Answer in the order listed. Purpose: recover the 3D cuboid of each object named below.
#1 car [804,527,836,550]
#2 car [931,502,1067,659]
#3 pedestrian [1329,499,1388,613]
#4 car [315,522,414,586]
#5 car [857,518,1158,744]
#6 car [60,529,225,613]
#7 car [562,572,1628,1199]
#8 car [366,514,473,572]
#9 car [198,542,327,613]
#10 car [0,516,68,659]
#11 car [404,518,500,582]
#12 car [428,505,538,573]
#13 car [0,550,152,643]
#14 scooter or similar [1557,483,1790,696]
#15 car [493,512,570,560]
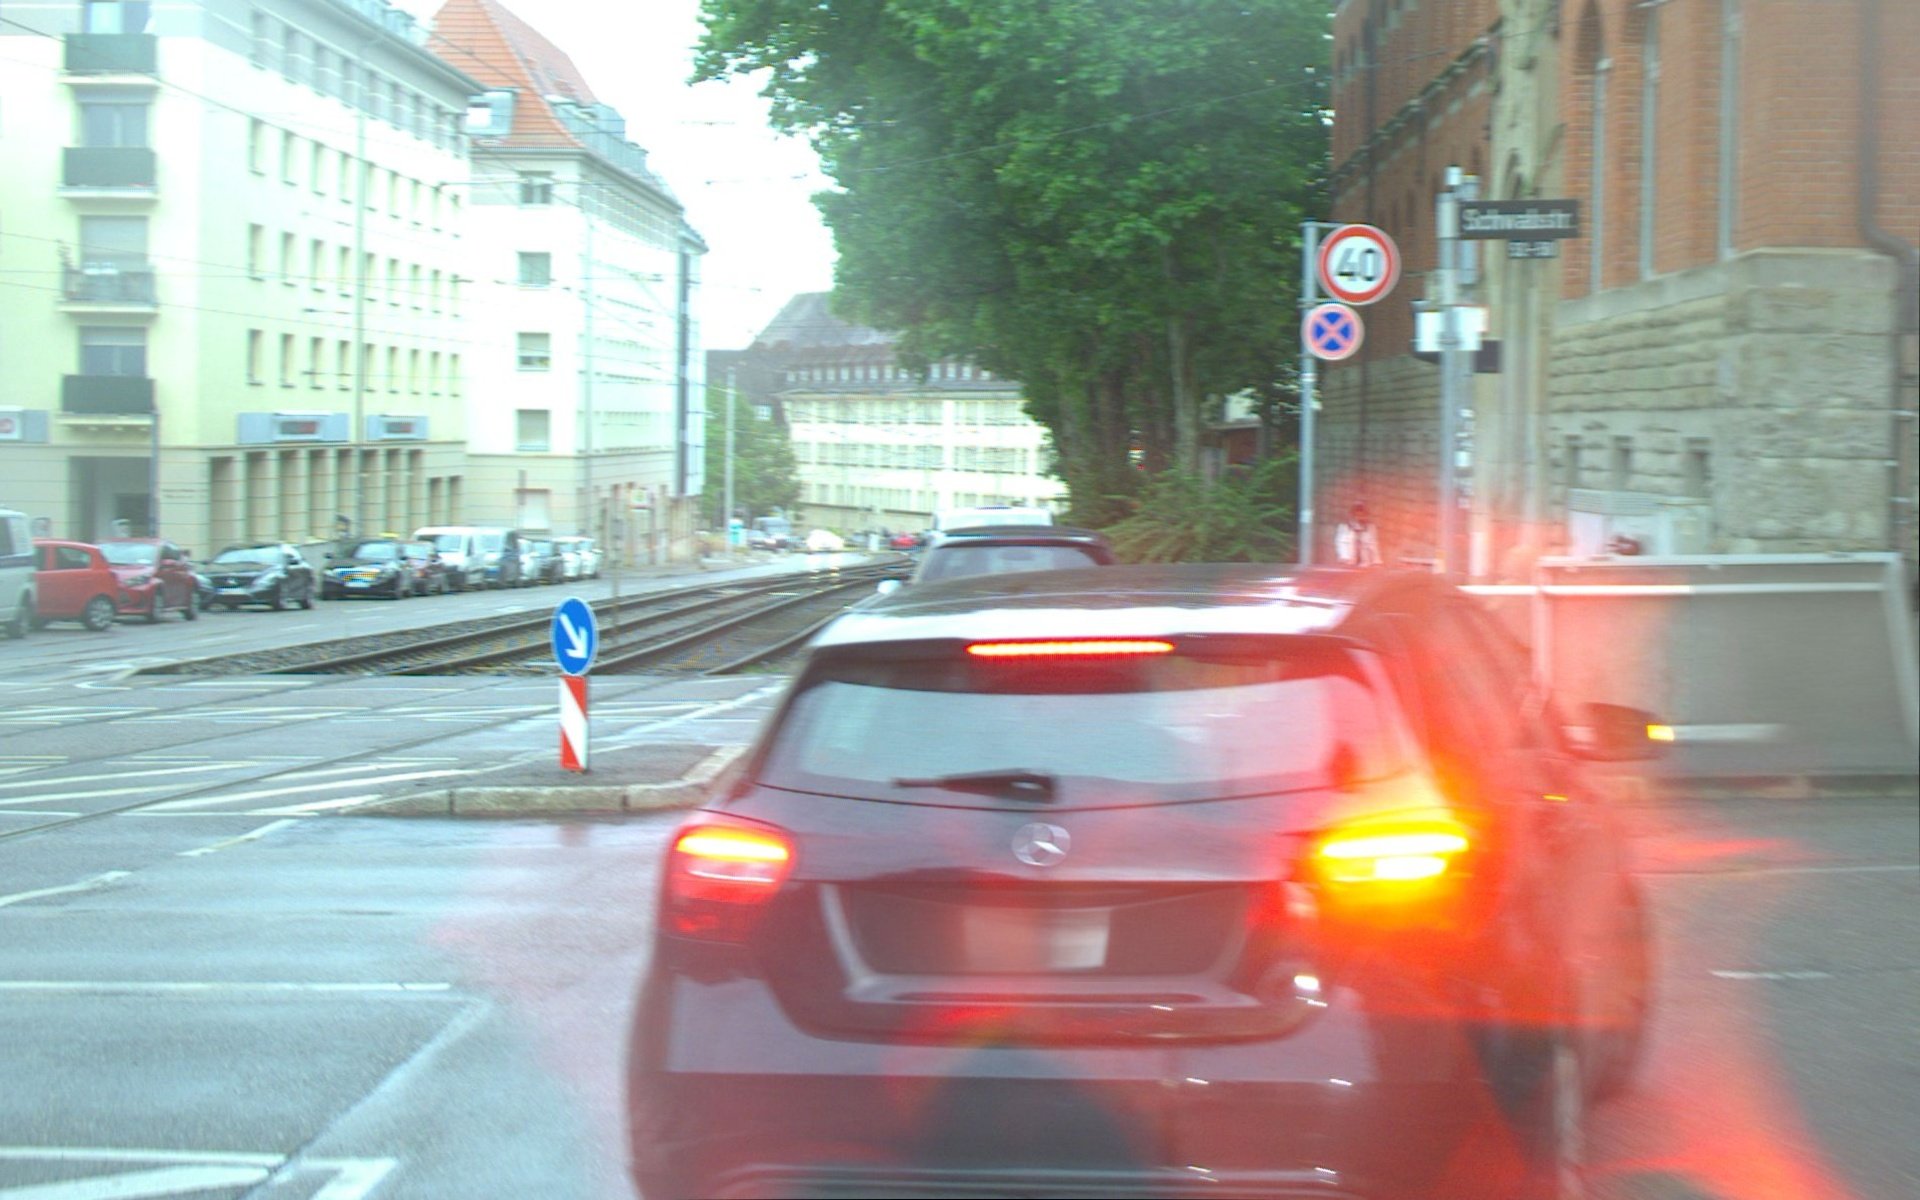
[{"bbox_3d":[-8.974,-3.943,220.200,1.712,1.457,4.280,-1,1,2],"label":"car"},{"bbox_3d":[0.490,-0.286,46.083,1.740,2.007,3.904,0,1,0],"label":"car"},{"bbox_3d":[5.893,-0.653,50.855,0.823,1.673,0.860,0,1,4],"label":"pedestrian"},{"bbox_3d":[-14.397,-1.124,83.378,1.851,1.503,4.993,0,1,-4],"label":"car"},{"bbox_3d":[0.245,0.162,24.534,1.933,1.448,4.318,1,1,-2],"label":"car"},{"bbox_3d":[-14.537,-0.533,61.316,1.653,1.446,4.073,0,1,5],"label":"car"},{"bbox_3d":[0.585,0.664,7.840,1.795,1.370,3.998,0,2,12],"label":"car"},{"bbox_3d":[-13.943,-1.478,88.932,1.851,1.427,4.832,1,1,1],"label":"car"},{"bbox_3d":[-14.186,-0.479,70.091,1.679,1.391,4.623,0,1,0],"label":"car"},{"bbox_3d":[-14.890,-0.209,50.396,2.070,2.002,5.302,3,2,1],"label":"car"},{"bbox_3d":[-14.074,-1.399,95.390,1.867,1.711,4.460,0,1,2],"label":"car"},{"bbox_3d":[-14.004,-1.820,101.215,1.994,1.898,5.459,2,1,5],"label":"car"},{"bbox_3d":[-15.102,-0.077,55.159,1.783,1.429,3.974,1,1,35],"label":"car"},{"bbox_3d":[4.303,-0.062,20.723,1.248,1.246,0.637,-1,1,23],"label":"scooter or similar"},{"bbox_3d":[-13.812,-2.079,110.936,1.813,1.494,4.583,1,2,1],"label":"car"}]
